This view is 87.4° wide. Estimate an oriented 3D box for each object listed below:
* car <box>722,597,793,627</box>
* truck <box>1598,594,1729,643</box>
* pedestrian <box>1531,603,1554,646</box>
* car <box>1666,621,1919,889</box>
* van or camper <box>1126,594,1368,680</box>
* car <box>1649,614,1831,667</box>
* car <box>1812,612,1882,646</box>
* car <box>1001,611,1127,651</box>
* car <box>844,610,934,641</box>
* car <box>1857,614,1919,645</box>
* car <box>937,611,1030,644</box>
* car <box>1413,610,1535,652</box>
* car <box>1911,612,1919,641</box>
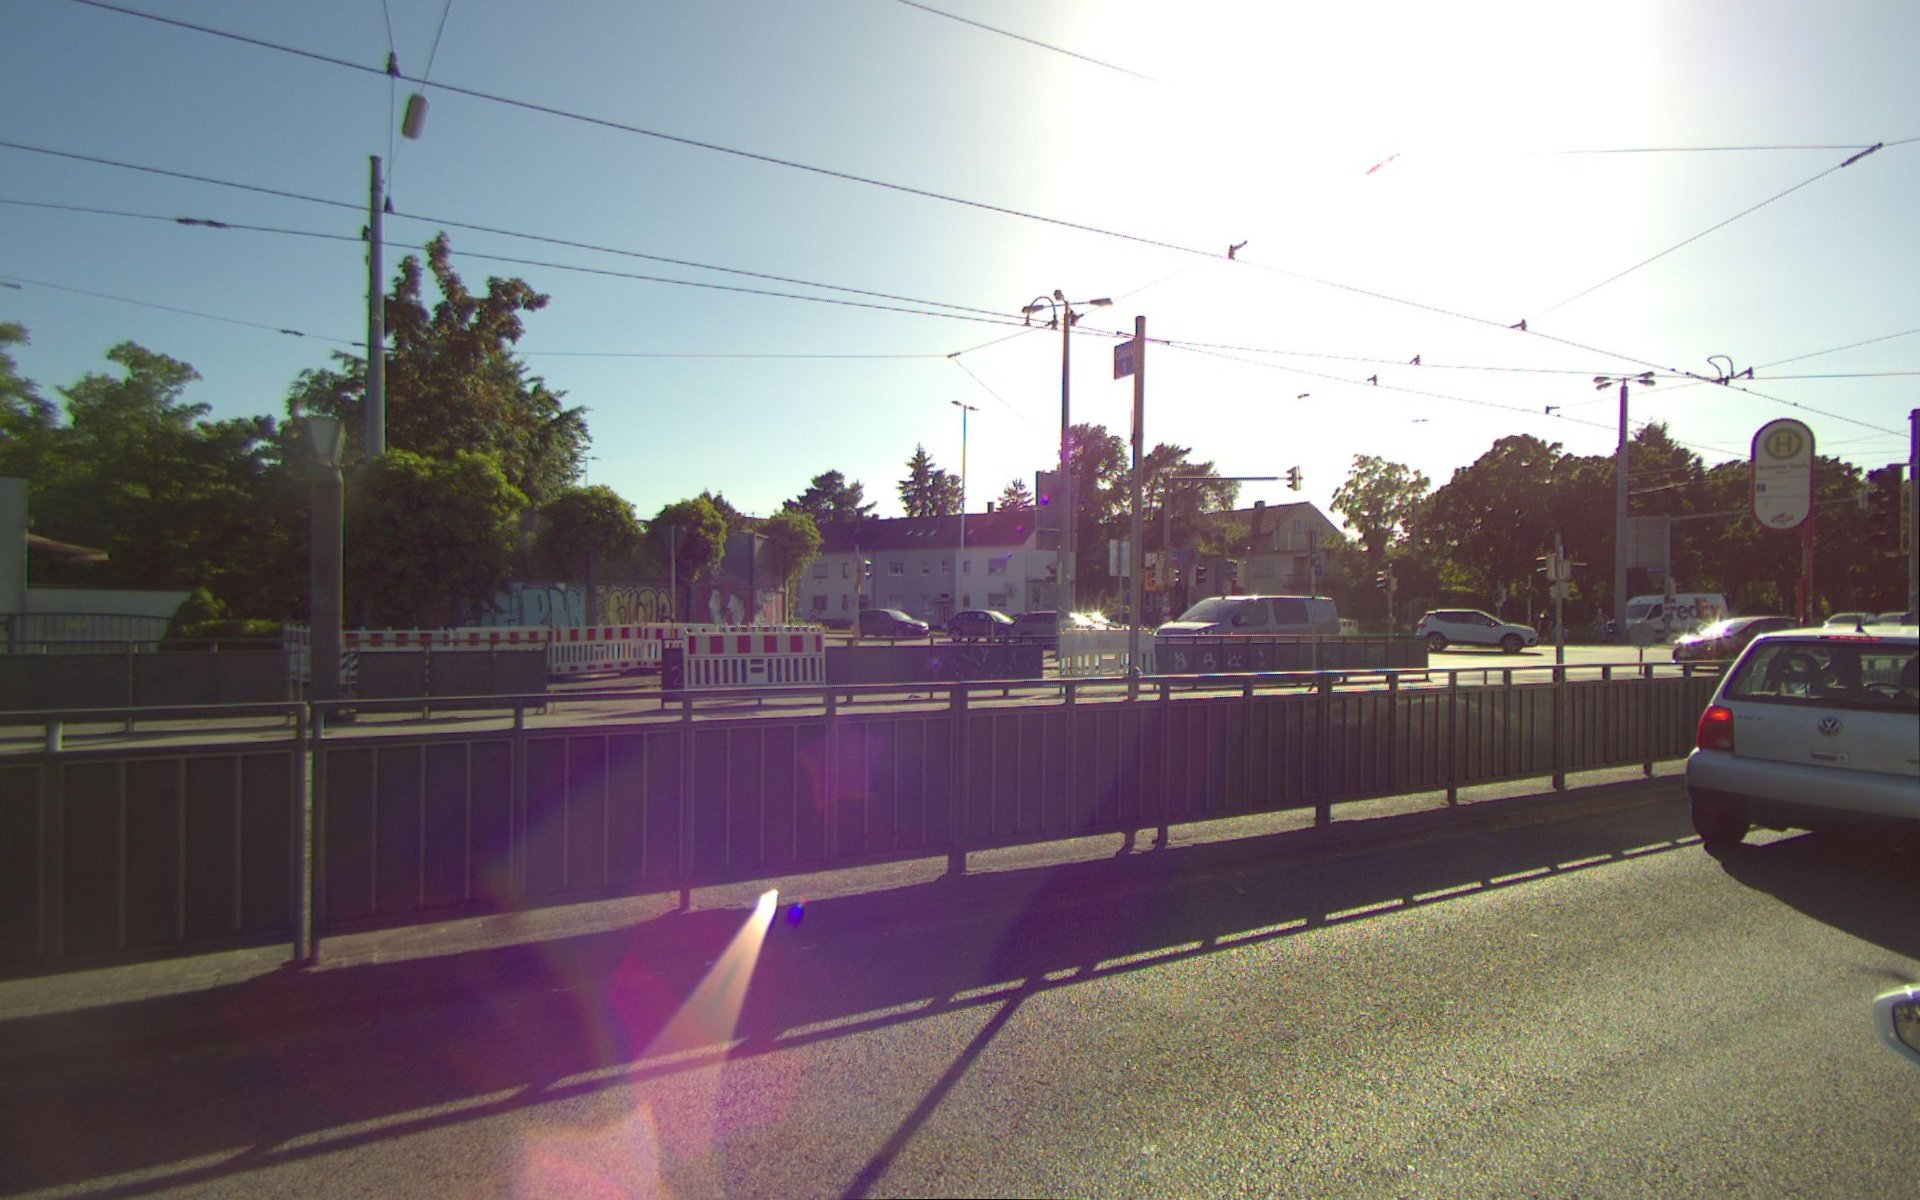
[{"bbox_3d":[-14.481,0.835,71.716,5.084,1.904,1.994,2,1,33],"label":"car"},{"bbox_3d":[38.157,1.024,54.480,6.709,2.599,1.994,1,0,-16],"label":"truck"},{"bbox_3d":[28.077,1.167,48.417,0.785,2.040,0.741,1,-1,-42],"label":"pedestrian"},{"bbox_3d":[6.374,0.877,6.635,3.312,1.436,1.611,1,-1,-31],"label":"car"},{"bbox_3d":[6.882,0.838,23.838,5.914,1.852,1.985,1,-1,-29],"label":"van or camper"},{"bbox_3d":[21.769,1.110,28.118,3.938,1.421,1.609,0,-1,-2],"label":"car"},{"bbox_3d":[43.666,1.411,49.428,3.963,1.568,1.819,1,-1,-37],"label":"car"},{"bbox_3d":[4.116,1.199,40.232,4.754,1.517,1.781,0,-1,34],"label":"car"},{"bbox_3d":[-3.532,1.244,49.585,4.212,1.451,1.788,0,-1,34],"label":"car"},{"bbox_3d":[48.553,1.512,52.410,4.245,1.568,1.819,1,-1,-37],"label":"car"},{"bbox_3d":[1.057,1.225,46.259,4.104,1.451,1.589,0,-1,34],"label":"car"},{"bbox_3d":[19.188,1.118,37.525,3.931,1.498,1.711,0,-1,33],"label":"car"},{"bbox_3d":[55.517,1.497,56.668,4.712,1.626,1.978,0,1,-38],"label":"car"}]
